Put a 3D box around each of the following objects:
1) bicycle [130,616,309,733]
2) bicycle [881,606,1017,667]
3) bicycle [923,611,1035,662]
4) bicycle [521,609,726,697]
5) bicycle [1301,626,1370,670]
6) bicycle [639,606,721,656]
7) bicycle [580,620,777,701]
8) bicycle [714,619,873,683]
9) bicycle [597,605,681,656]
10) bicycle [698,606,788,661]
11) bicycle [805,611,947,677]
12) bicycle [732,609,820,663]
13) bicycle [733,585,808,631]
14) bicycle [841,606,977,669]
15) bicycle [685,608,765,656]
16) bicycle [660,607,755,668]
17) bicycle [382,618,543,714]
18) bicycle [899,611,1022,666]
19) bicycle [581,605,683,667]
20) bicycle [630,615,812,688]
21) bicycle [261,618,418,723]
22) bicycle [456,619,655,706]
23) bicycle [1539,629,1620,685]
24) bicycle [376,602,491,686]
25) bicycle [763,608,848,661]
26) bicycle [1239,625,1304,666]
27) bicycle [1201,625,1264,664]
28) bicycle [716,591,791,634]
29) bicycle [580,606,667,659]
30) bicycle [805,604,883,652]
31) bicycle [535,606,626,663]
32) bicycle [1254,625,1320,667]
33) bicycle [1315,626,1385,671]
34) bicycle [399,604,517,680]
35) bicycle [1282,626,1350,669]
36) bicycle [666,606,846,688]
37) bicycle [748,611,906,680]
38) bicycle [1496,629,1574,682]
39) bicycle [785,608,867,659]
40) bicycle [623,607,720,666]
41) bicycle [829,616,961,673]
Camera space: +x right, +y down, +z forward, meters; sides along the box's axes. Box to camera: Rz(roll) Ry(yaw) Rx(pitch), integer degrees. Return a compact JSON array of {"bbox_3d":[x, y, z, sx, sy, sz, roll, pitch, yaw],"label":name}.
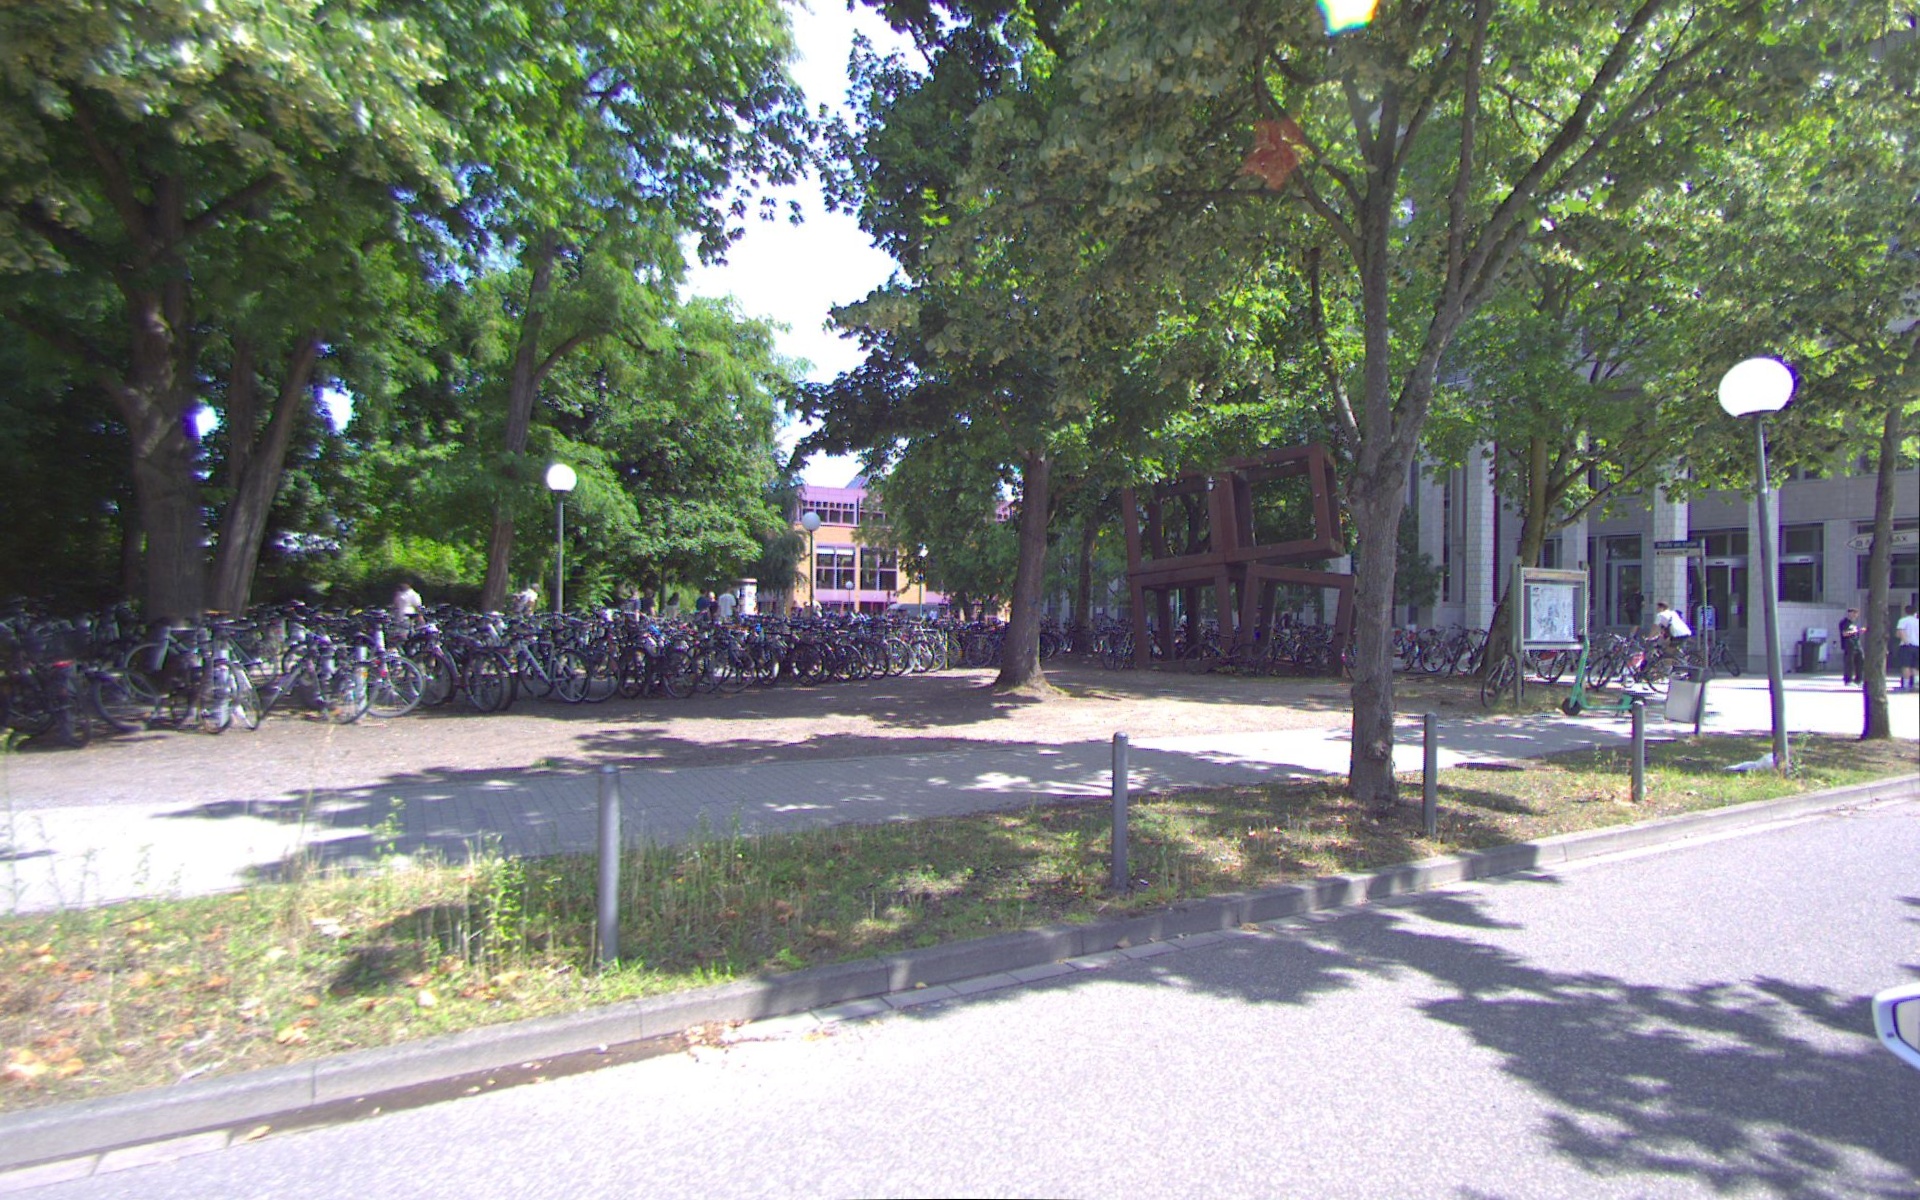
[{"bbox_3d":[-7.437,0.697,10.058,2.116,1.022,0.676,1,0,31],"label":"bicycle"},{"bbox_3d":[-0.263,0.815,23.390,3.022,1.314,0.883,1,0,18],"label":"bicycle"},{"bbox_3d":[0.488,0.911,25.894,2.781,1.249,0.743,0,0,18],"label":"bicycle"},{"bbox_3d":[-4.671,0.699,13.946,2.697,1.101,0.883,1,0,18],"label":"bicycle"},{"bbox_3d":[9.822,1.246,26.248,1.950,1.101,0.549,1,1,-30],"label":"bicycle"},{"bbox_3d":[-6.907,0.750,24.748,2.022,1.147,0.639,1,1,26],"label":"bicycle"},{"bbox_3d":[-4.168,0.859,14.847,2.777,1.064,0.883,1,0,18],"label":"bicycle"},{"bbox_3d":[-2.953,0.885,17.854,2.679,1.016,0.883,1,0,18],"label":"bicycle"},{"bbox_3d":[-7.636,0.709,23.874,2.022,1.147,0.639,1,1,26],"label":"bicycle"},{"bbox_3d":[-4.906,0.738,22.712,2.022,1.147,0.639,1,1,26],"label":"bicycle"},{"bbox_3d":[-1.661,0.846,19.897,2.655,1.195,0.883,1,0,18],"label":"bicycle"},{"bbox_3d":[-4.352,0.825,23.671,2.022,1.148,0.639,3,2,26],"label":"bicycle"},{"bbox_3d":[-5.284,0.201,27.925,2.022,1.147,0.639,4,2,26],"label":"bicycle"},{"bbox_3d":[-1.136,0.809,22.370,2.875,1.304,0.883,1,0,18],"label":"bicycle"},{"bbox_3d":[-6.005,0.795,25.619,2.022,1.147,0.639,1,1,26],"label":"bicycle"},{"bbox_3d":[-5.463,0.782,21.681,2.022,1.147,0.639,4,2,26],"label":"bicycle"},{"bbox_3d":[-5.991,0.750,12.051,2.116,1.022,0.676,1,0,30],"label":"bicycle"},{"bbox_3d":[0.003,0.921,24.684,2.902,1.141,0.743,3,1,18],"label":"bicycle"},{"bbox_3d":[-6.456,0.688,19.731,2.022,1.147,0.639,0,1,26],"label":"bicycle"},{"bbox_3d":[-3.775,0.785,15.863,2.728,1.028,0.883,1,0,18],"label":"bicycle"},{"bbox_3d":[-6.785,0.729,10.953,1.858,1.022,0.676,1,0,31],"label":"bicycle"},{"bbox_3d":[-5.339,0.792,13.235,2.598,1.022,0.678,1,0,18],"label":"bicycle"},{"bbox_3d":[12.885,1.172,20.875,1.950,1.101,0.549,1,1,-30],"label":"bicycle"},{"bbox_3d":[-8.300,0.669,15.805,2.022,1.147,0.478,4,2,26],"label":"bicycle"},{"bbox_3d":[-3.809,0.837,24.685,2.022,1.147,0.639,4,2,26],"label":"bicycle"},{"bbox_3d":[8.786,1.280,28.330,1.950,1.101,0.549,1,1,-30],"label":"bicycle"},{"bbox_3d":[7.994,1.289,29.435,1.950,1.101,0.549,1,1,-30],"label":"bicycle"},{"bbox_3d":[-5.608,0.330,27.261,2.022,1.147,0.639,1,0,26],"label":"bicycle"},{"bbox_3d":[-7.728,0.727,23.034,2.022,1.147,0.639,1,1,26],"label":"bicycle"},{"bbox_3d":[-3.150,0.744,27.117,2.022,1.147,0.639,4,2,26],"label":"bicycle"},{"bbox_3d":[-8.287,0.737,21.905,2.022,1.147,0.639,1,1,26],"label":"bicycle"},{"bbox_3d":[8.975,1.259,27.536,1.950,1.101,0.549,1,1,-30],"label":"bicycle"},{"bbox_3d":[9.967,1.231,25.665,1.950,1.101,0.549,1,1,-30],"label":"bicycle"},{"bbox_3d":[-8.268,0.667,16.518,2.022,1.147,0.639,1,1,26],"label":"bicycle"},{"bbox_3d":[9.505,1.252,26.768,1.950,1.101,0.549,1,1,-30],"label":"bicycle"},{"bbox_3d":[-3.380,0.737,16.615,2.850,1.237,0.883,1,0,18],"label":"bicycle"},{"bbox_3d":[-2.500,0.823,18.860,2.826,1.193,0.883,1,0,18],"label":"bicycle"},{"bbox_3d":[12.603,1.201,21.994,1.950,1.101,0.549,1,1,-30],"label":"bicycle"},{"bbox_3d":[-3.470,0.837,25.915,2.022,1.147,0.674,4,2,26],"label":"bicycle"},{"bbox_3d":[-5.973,0.740,20.749,2.022,1.147,0.639,1,1,26],"label":"bicycle"},{"bbox_3d":[-1.377,0.912,21.190,2.630,1.091,0.883,1,0,18],"label":"bicycle"}]
